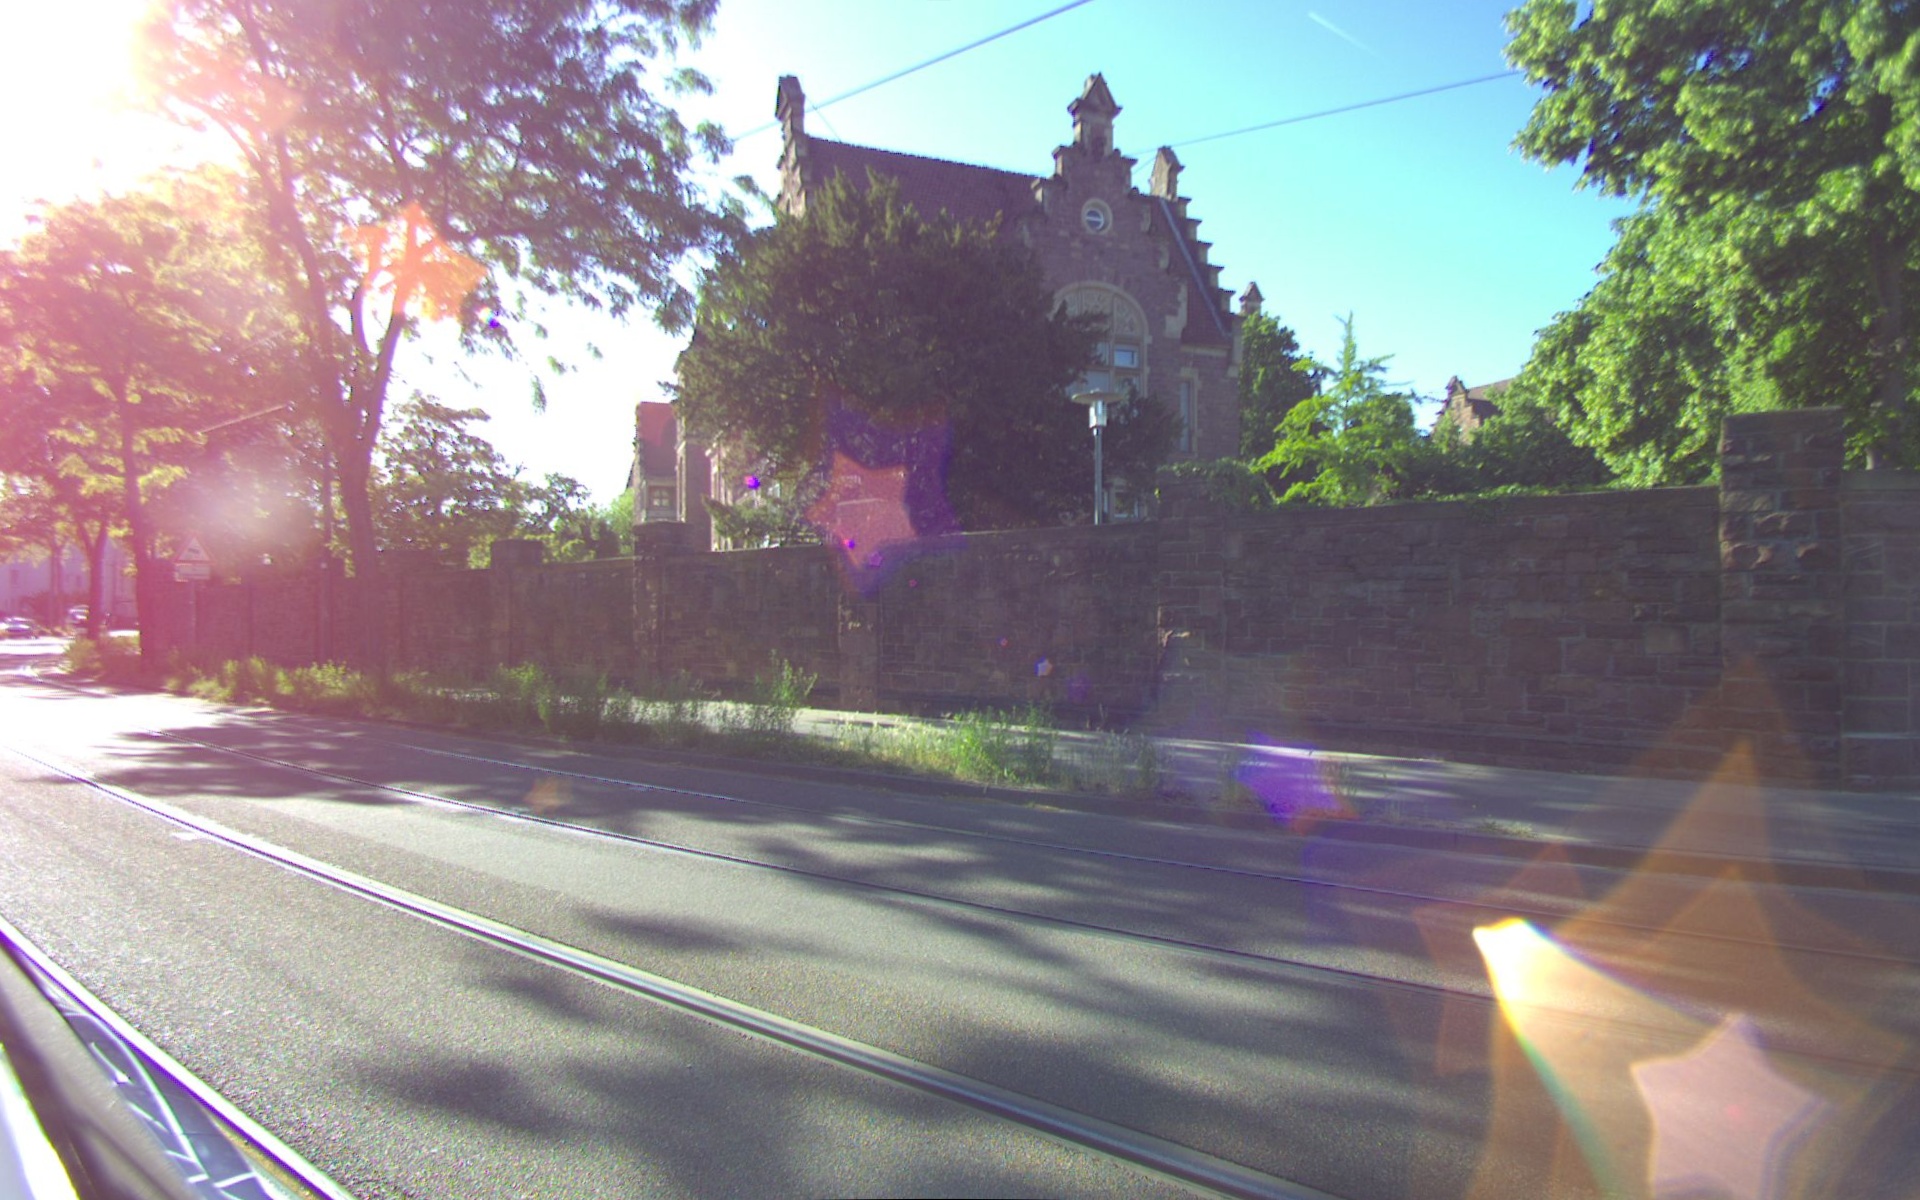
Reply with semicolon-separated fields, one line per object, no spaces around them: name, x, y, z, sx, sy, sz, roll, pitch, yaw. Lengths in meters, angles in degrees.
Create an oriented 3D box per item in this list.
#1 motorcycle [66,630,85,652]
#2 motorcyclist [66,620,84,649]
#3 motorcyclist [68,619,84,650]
motorcycle;-44.719;2.053;51.157;0.602;1.101;1.857;0;-1;-45
motorcyclist;-44.785;1.718;51.203;0.676;1.451;0.447;0;-1;-45
motorcyclist;-44.377;1.711;50.812;0.599;1.527;0.466;0;-1;-45
